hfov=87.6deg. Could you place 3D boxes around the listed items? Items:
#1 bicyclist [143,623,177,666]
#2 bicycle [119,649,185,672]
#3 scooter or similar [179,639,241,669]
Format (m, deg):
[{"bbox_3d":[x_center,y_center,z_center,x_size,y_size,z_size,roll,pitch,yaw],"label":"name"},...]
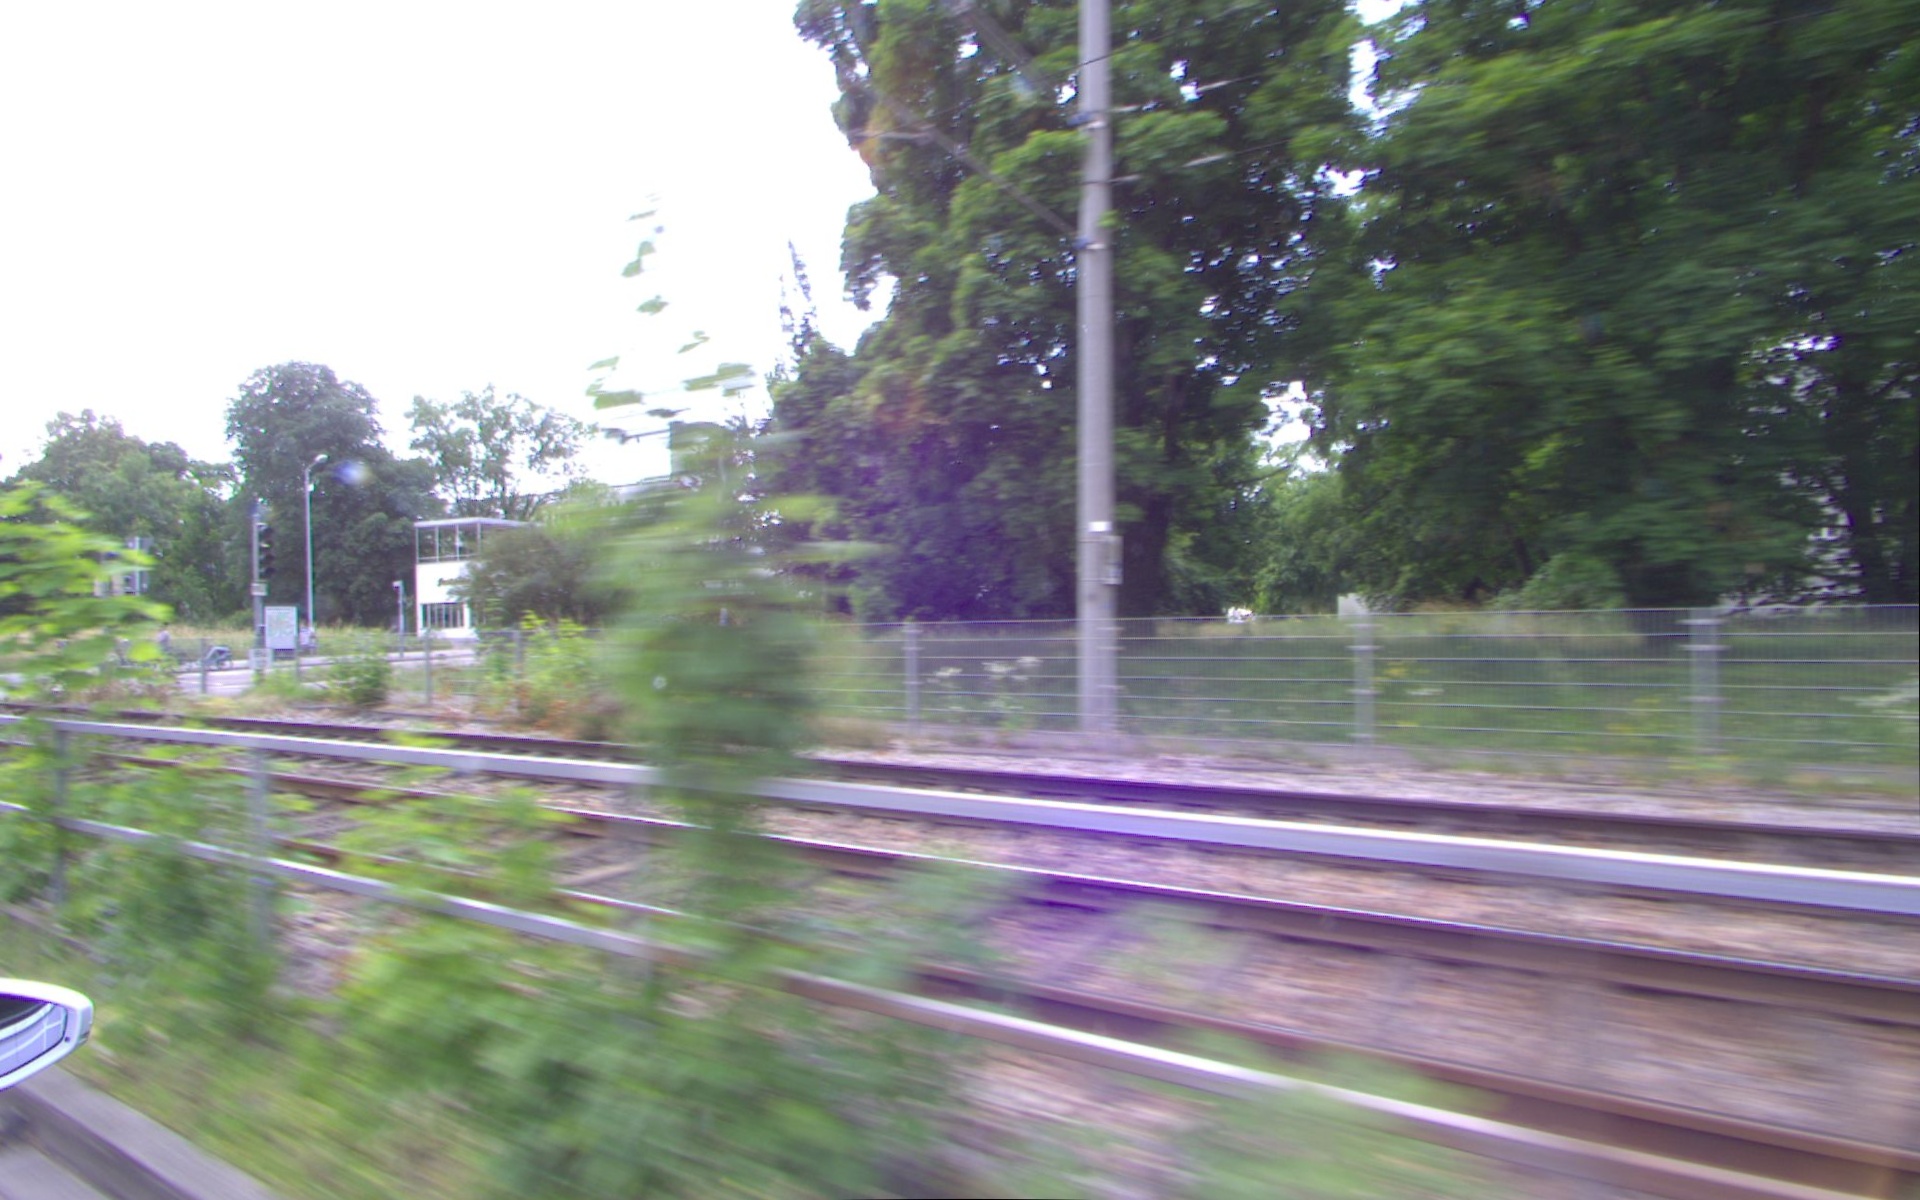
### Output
[{"bbox_3d":[-28.379,1.588,35.521,0.449,1.494,0.837,-1,0,34],"label":"bicyclist"},{"bbox_3d":[-28.440,2.112,35.270,0.548,0.775,1.718,-2,-2,34],"label":"bicycle"},{"bbox_3d":[-27.422,1.958,36.618,0.949,0.992,1.570,-2,0,34],"label":"scooter or similar"}]
